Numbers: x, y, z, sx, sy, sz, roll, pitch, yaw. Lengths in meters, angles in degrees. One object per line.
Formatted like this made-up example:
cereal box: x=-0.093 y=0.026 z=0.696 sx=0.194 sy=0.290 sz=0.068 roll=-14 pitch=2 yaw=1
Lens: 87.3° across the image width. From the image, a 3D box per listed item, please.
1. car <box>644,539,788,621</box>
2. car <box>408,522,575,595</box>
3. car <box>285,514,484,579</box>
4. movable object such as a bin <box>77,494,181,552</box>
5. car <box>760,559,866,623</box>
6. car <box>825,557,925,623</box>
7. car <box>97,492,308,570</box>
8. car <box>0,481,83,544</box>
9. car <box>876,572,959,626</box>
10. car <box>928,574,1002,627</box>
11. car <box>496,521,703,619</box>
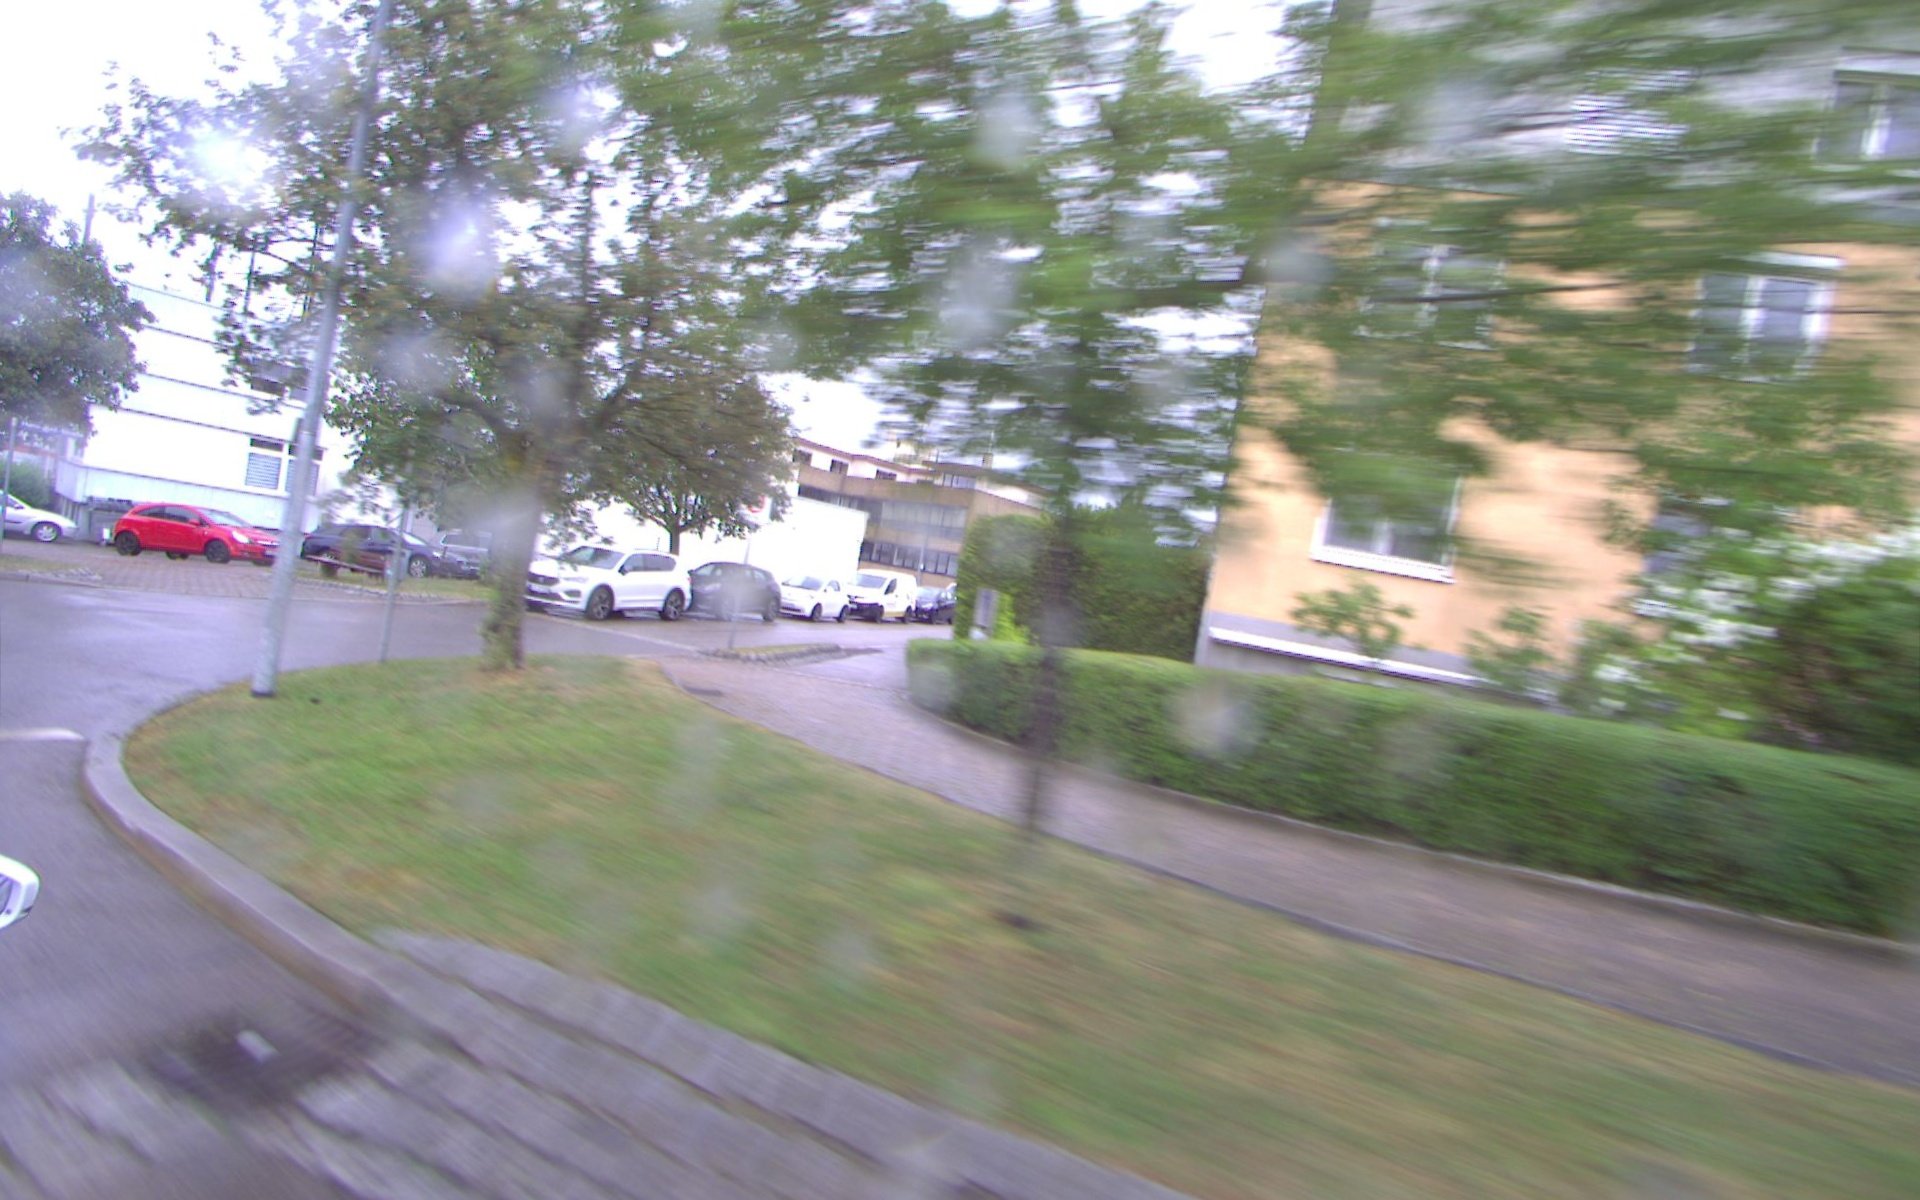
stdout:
car: x=-6.642 y=-0.477 z=27.844 sx=1.919 sy=1.753 sz=4.021 roll=9 pitch=0 yaw=16
car: x=-15.045 y=-1.299 z=32.499 sx=4.377 sy=1.819 sz=1.860 roll=5 pitch=-2 yaw=-2
car: x=-16.802 y=-1.544 z=29.516 sx=4.739 sy=1.605 sz=1.858 roll=2 pitch=0 yaw=0
movable object such as a bin: x=-27.088 y=-2.503 z=32.810 sx=1.708 sy=1.523 sz=2.263 roll=7 pitch=1 yaw=40
car: x=-4.776 y=-0.237 z=33.239 sx=1.800 sy=1.688 sz=3.832 roll=7 pitch=-1 yaw=18
car: x=-3.097 y=-0.327 z=37.851 sx=1.895 sy=1.952 sz=4.424 roll=9 pitch=0 yaw=19
car: x=-20.040 y=-1.813 z=26.723 sx=4.244 sy=1.604 sz=1.859 roll=4 pitch=0 yaw=5
car: x=-28.726 y=-2.748 z=29.402 sx=1.830 sy=1.604 sz=4.312 roll=6 pitch=-1 yaw=37
car: x=-1.712 y=0.009 z=41.874 sx=1.919 sy=1.753 sz=4.020 roll=9 pitch=0 yaw=19
car: x=0.279 y=0.071 z=47.117 sx=1.919 sy=1.993 sz=4.158 roll=9 pitch=0 yaw=20
car: x=-8.137 y=-0.599 z=23.257 sx=1.910 sy=1.838 sz=4.712 roll=7 pitch=1 yaw=17
